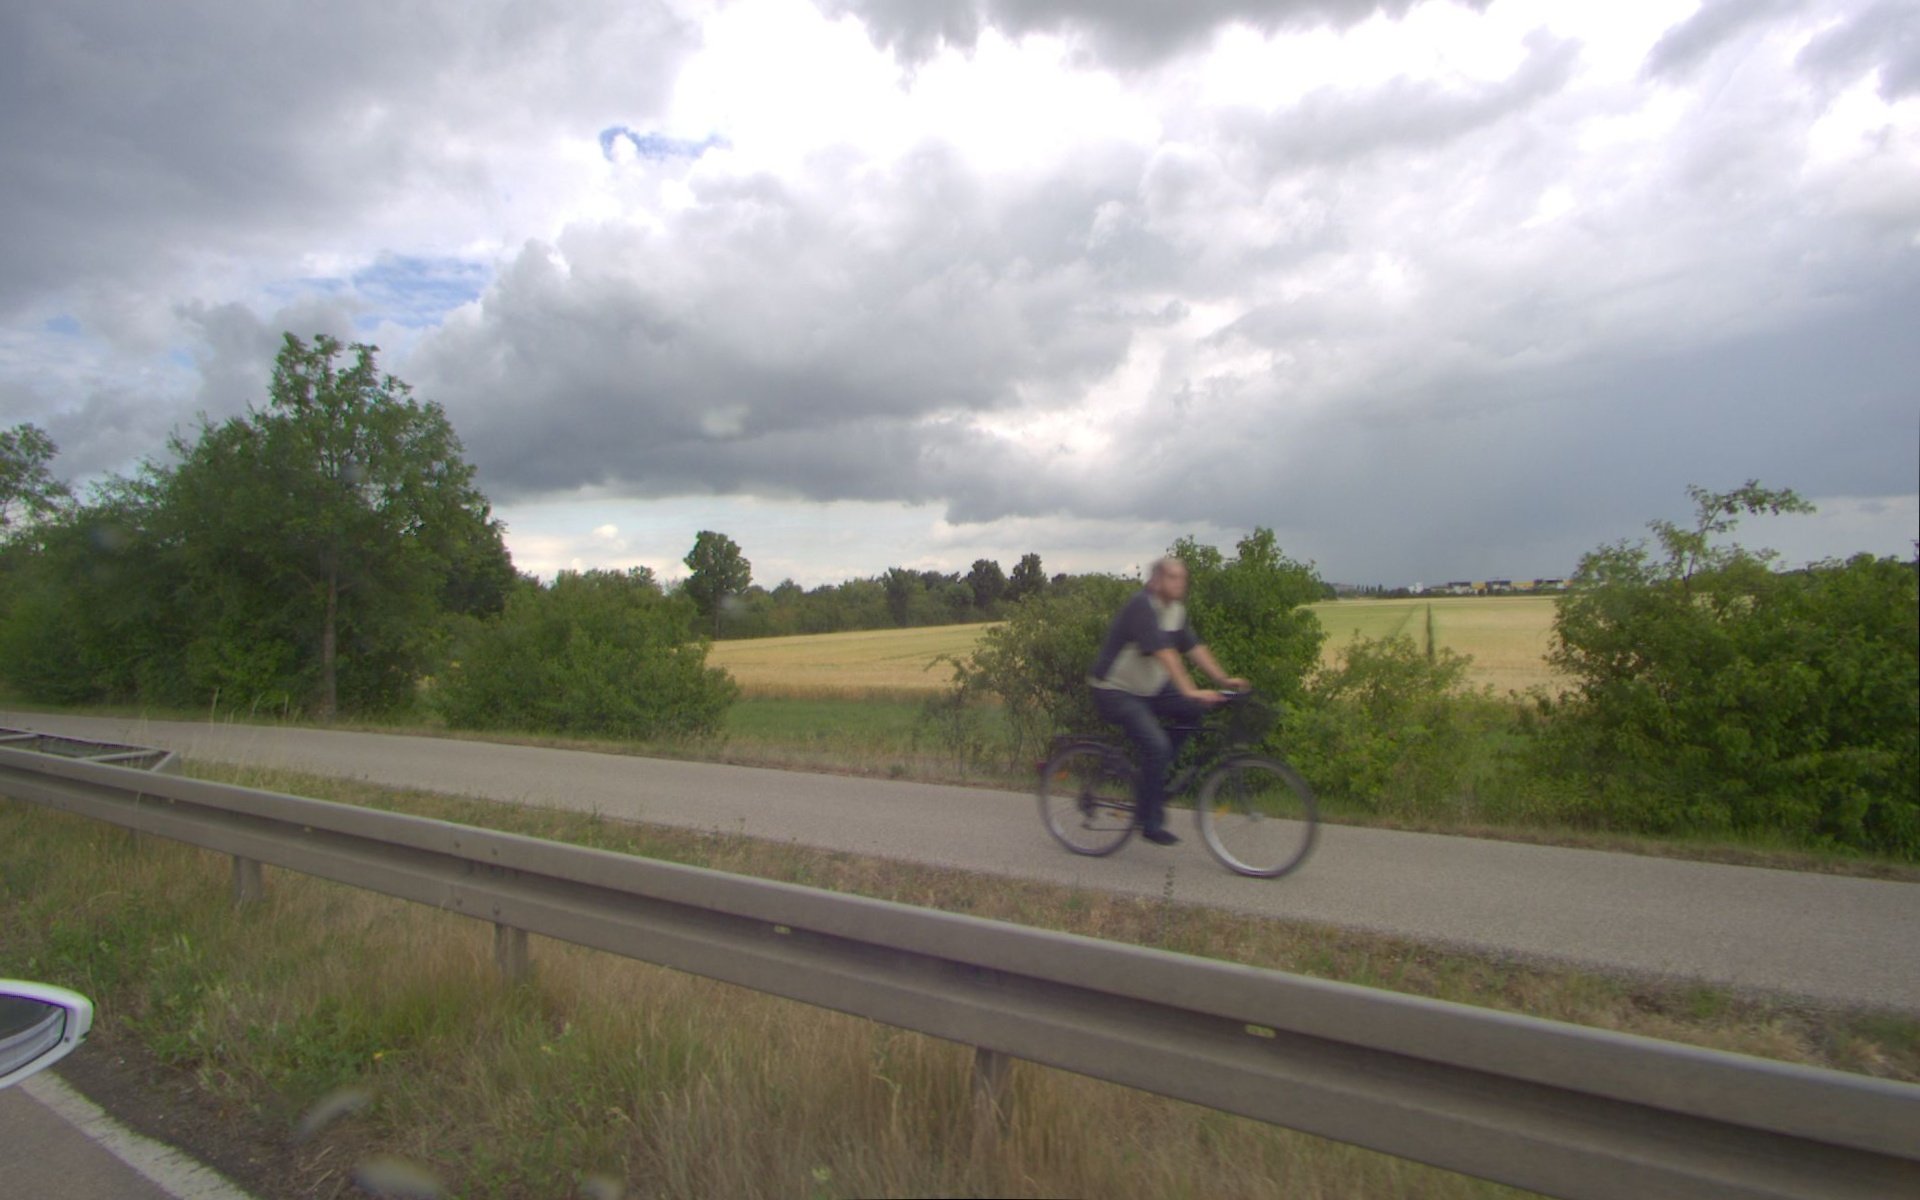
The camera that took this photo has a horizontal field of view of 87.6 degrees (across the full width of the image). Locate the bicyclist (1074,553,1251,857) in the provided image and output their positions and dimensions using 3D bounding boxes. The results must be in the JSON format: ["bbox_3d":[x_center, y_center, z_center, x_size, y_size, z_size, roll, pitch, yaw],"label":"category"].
[{"bbox_3d":[1.217,0.584,5.986,0.854,1.667,0.645,-1,0,32],"label":"bicyclist"}]

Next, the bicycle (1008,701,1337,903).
[{"bbox_3d":[1.237,1.128,5.982,1.804,0.932,0.664,-1,0,32],"label":"bicycle"}]
